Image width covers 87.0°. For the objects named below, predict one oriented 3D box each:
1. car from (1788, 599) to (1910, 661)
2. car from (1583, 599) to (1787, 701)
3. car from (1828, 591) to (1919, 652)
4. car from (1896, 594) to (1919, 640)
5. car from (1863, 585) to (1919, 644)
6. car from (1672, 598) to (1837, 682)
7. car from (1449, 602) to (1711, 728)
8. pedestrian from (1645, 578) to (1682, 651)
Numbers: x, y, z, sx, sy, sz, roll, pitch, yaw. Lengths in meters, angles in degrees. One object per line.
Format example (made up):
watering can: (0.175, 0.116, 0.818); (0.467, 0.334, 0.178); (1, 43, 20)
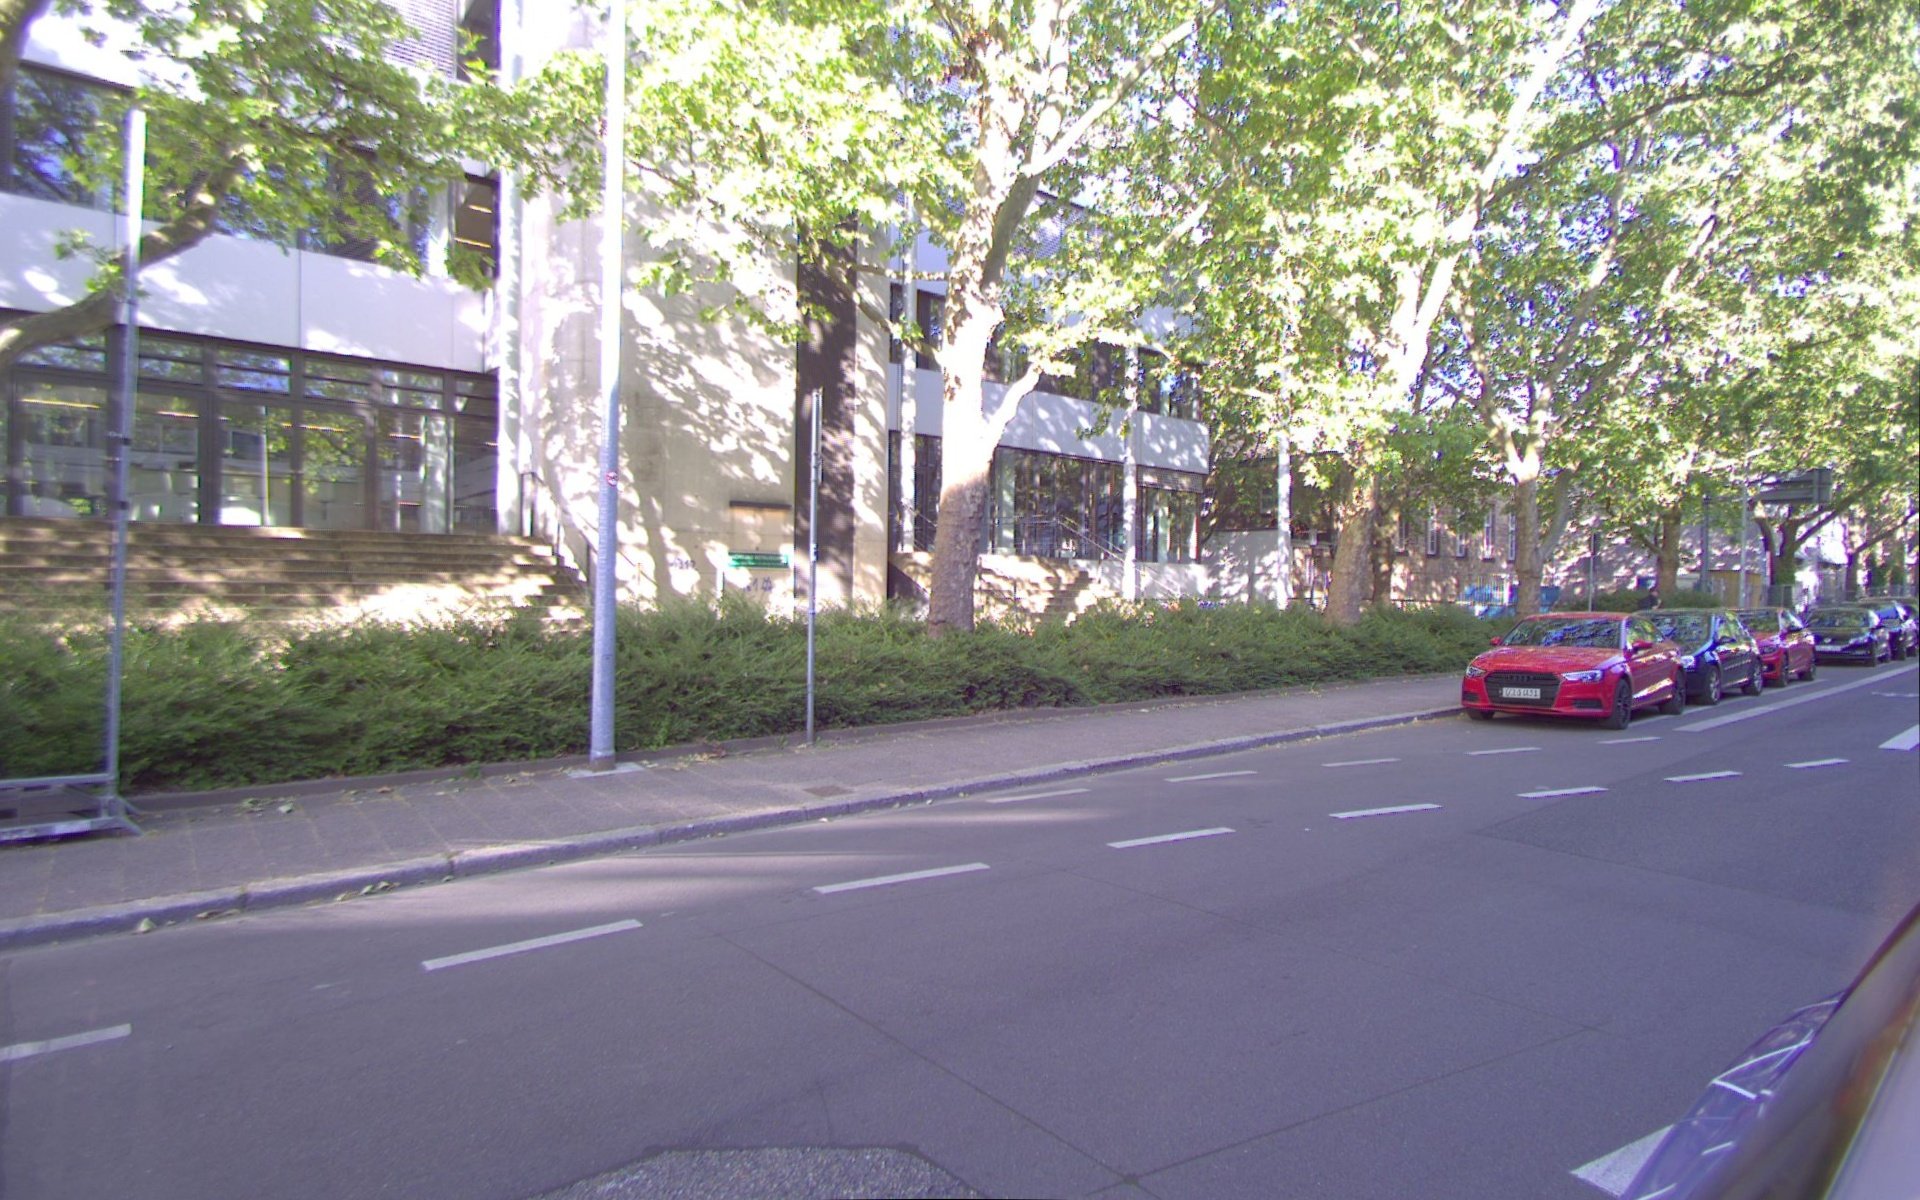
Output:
car: (22.866, 0.706, 25.988); (4.095, 1.486, 1.834); (0, 0, -41)
car: (12.018, 0.722, 16.682); (4.095, 1.464, 1.834); (0, 0, -41)
car: (26.555, 0.577, 29.082); (4.088, 1.626, 1.834); (0, 0, -40)
car: (35.904, 0.586, 37.097); (4.183, 1.634, 1.834); (0, 0, -40)
car: (31.040, 0.443, 32.972); (4.383, 1.820, 1.834); (0, 0, -40)
car: (15.834, 0.712, 20.096); (4.095, 1.486, 1.834); (0, 0, -41)
car: (8.399, 0.740, 13.565); (4.173, 1.422, 1.834); (0, 0, -41)
pedestrian: (18.423, 0.368, 26.512); (0.629, 1.884, 0.660); (0, 0, -41)
